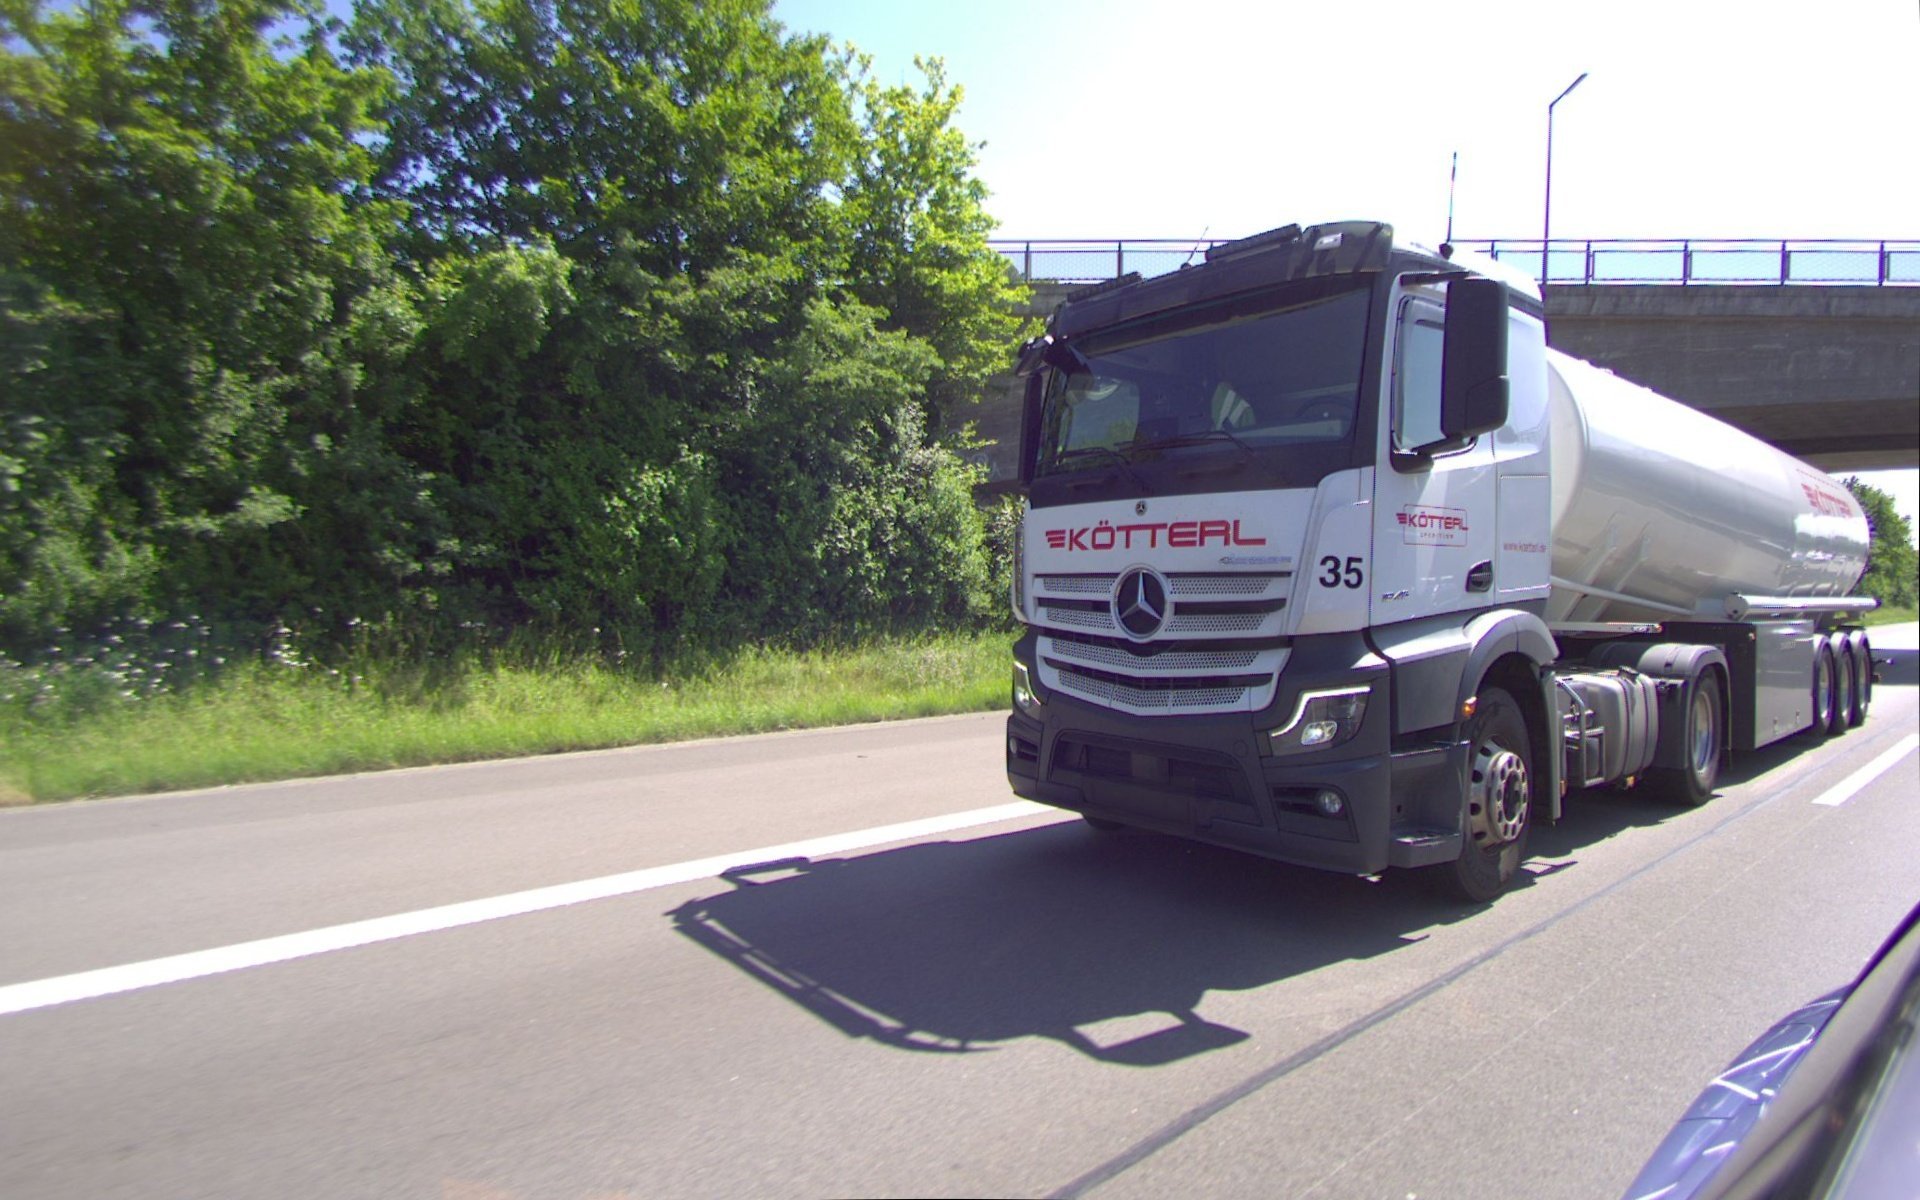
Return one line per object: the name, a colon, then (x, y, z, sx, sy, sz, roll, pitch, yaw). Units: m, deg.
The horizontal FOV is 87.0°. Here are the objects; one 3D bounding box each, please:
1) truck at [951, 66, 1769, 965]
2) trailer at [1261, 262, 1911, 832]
truck: (3.202, -0.340, 6.960, 6.374, 3.417, 2.642, 0, 0, -41)
trailer: (7.428, -0.338, 10.683, 10.955, 3.432, 2.653, 0, 0, -41)
